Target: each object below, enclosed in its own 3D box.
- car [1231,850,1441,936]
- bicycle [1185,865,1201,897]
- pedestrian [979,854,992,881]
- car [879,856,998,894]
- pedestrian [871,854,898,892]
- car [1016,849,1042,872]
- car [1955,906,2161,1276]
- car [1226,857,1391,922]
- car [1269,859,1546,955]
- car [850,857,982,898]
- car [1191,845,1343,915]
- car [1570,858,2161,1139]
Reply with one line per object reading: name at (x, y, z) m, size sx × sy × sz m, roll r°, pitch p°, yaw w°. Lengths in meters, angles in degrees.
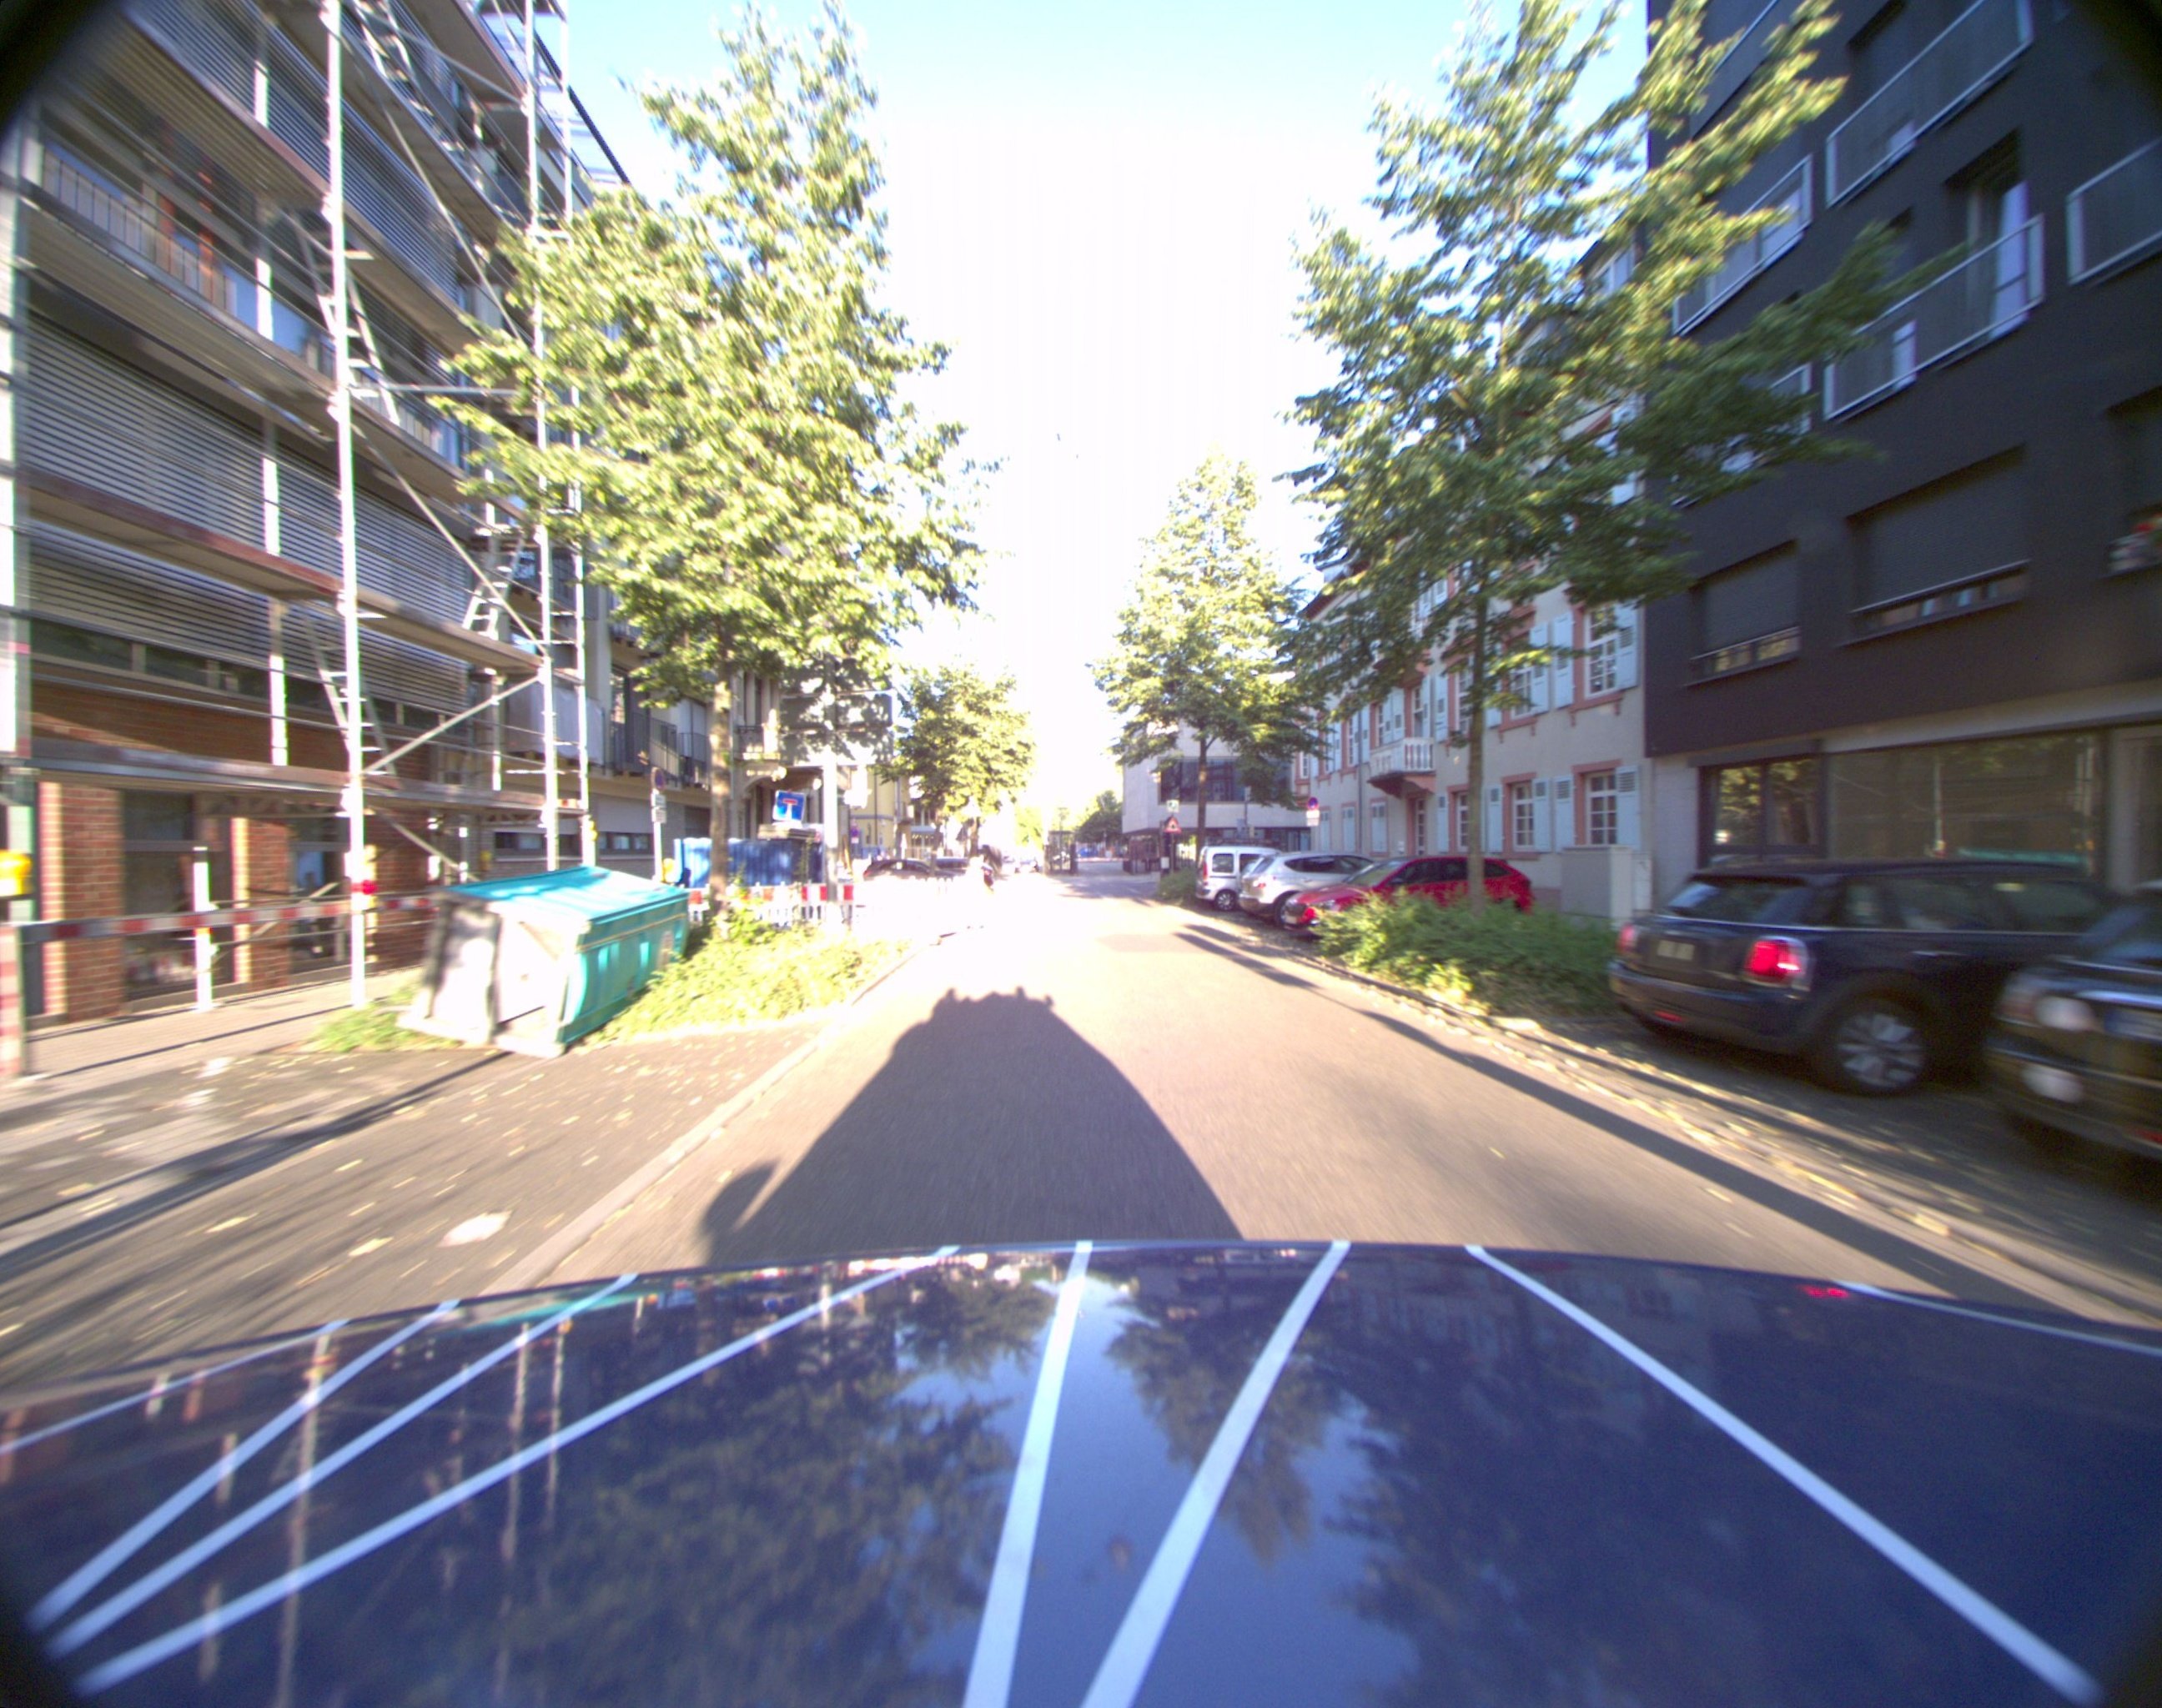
car at (5.264, 0.782, 16.050) m, size 3.835 × 1.576 × 1.741 m, roll -2°, pitch 1°, yaw 1°
bicycle at (4.247, 1.020, 28.785) m, size 0.331 × 1.134 × 1.596 m, roll -3°, pitch 1°, yaw 0°
pedestrian at (-5.685, 0.800, 45.161) m, size 0.672 × 1.585 × 0.469 m, roll 0°, pitch 1°, yaw 10°
car at (-5.775, 0.843, 31.165) m, size 4.539 × 1.502 × 1.911 m, roll 0°, pitch 0°, yaw -2°
pedestrian at (-8.755, 0.850, 33.899) m, size 0.962 × 1.649 × 0.638 m, roll -1°, pitch 1°, yaw -44°
car at (-3.980, 0.467, 58.596) m, size 1.709 × 1.575 × 3.678 m, roll -1°, pitch 1°, yaw 0°
car at (5.943, 0.930, 2.841) m, size 3.405 × 1.384 × 1.686 m, roll -1°, pitch 1°, yaw 0°
car at (5.560, 0.855, 18.926) m, size 3.658 × 1.506 × 1.649 m, roll -1°, pitch 0°, yaw 3°
car at (5.710, 0.882, 13.581) m, size 4.220 × 1.507 × 1.761 m, roll -1°, pitch 1°, yaw -5°
car at (-6.118, 0.856, 28.588) m, size 4.538 × 1.471 × 1.867 m, roll 0°, pitch 1°, yaw 0°
car at (5.072, 0.680, 21.081) m, size 3.820 × 1.839 × 1.700 m, roll -1°, pitch 1°, yaw 1°
car at (6.000, 0.841, 5.363) m, size 3.903 × 1.509 × 1.856 m, roll -1°, pitch 1°, yaw -1°
